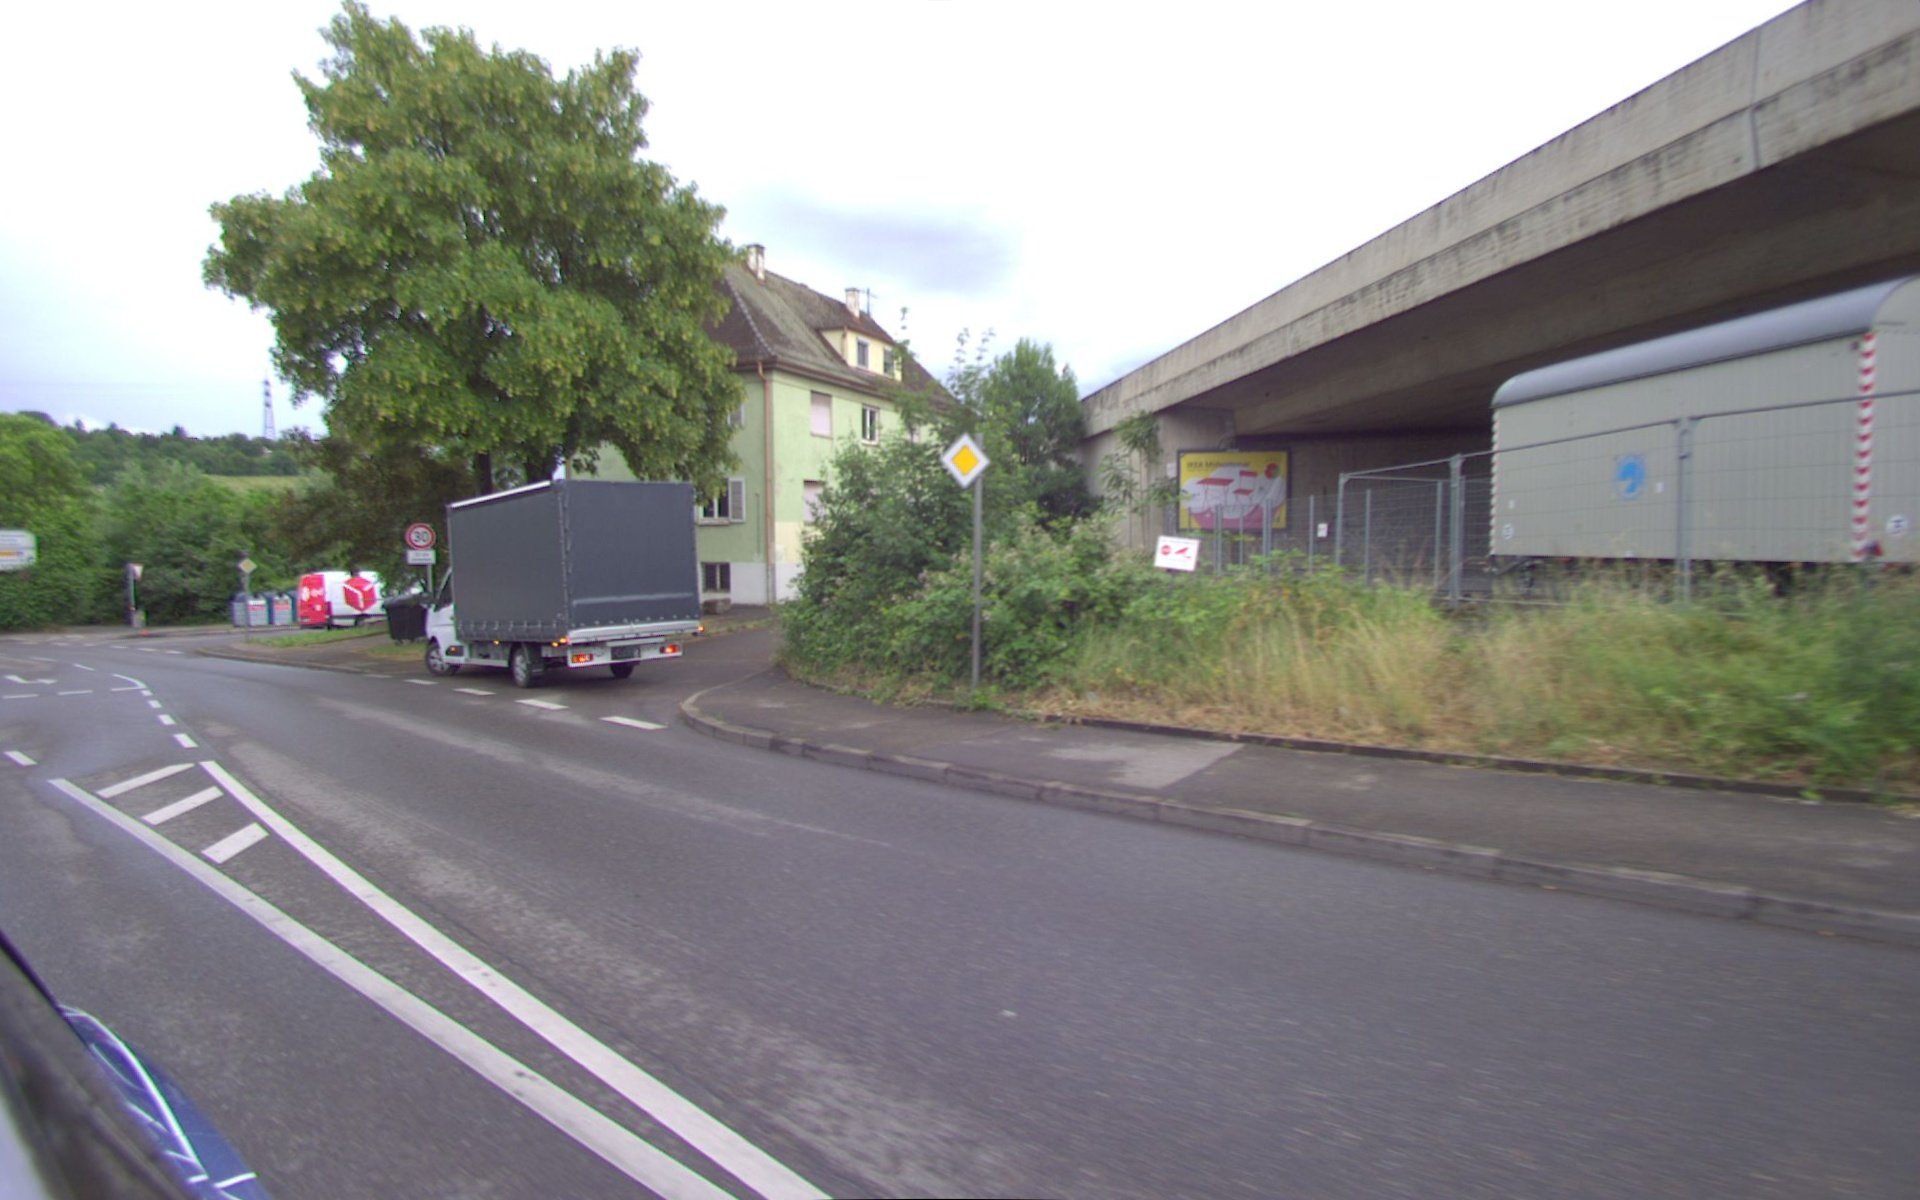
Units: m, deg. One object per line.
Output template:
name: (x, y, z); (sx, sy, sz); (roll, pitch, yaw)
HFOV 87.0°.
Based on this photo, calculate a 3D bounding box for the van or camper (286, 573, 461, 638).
van or camper: (-25.706, 0.179, 44.745); (2.209, 2.540, 6.645); (-2, 1, 23)

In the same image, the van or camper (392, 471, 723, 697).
van or camper: (-7.726, -0.248, 18.709); (7.764, 3.359, 2.668); (-1, 2, 44)

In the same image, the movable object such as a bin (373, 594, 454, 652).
movable object such as a bin: (-15.606, 0.635, 28.962); (1.360, 1.451, 1.470); (-5, 1, 6)

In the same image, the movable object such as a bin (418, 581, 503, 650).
movable object such as a bin: (-14.202, 0.408, 28.850); (1.436, 1.774, 1.575); (-5, 1, 6)
